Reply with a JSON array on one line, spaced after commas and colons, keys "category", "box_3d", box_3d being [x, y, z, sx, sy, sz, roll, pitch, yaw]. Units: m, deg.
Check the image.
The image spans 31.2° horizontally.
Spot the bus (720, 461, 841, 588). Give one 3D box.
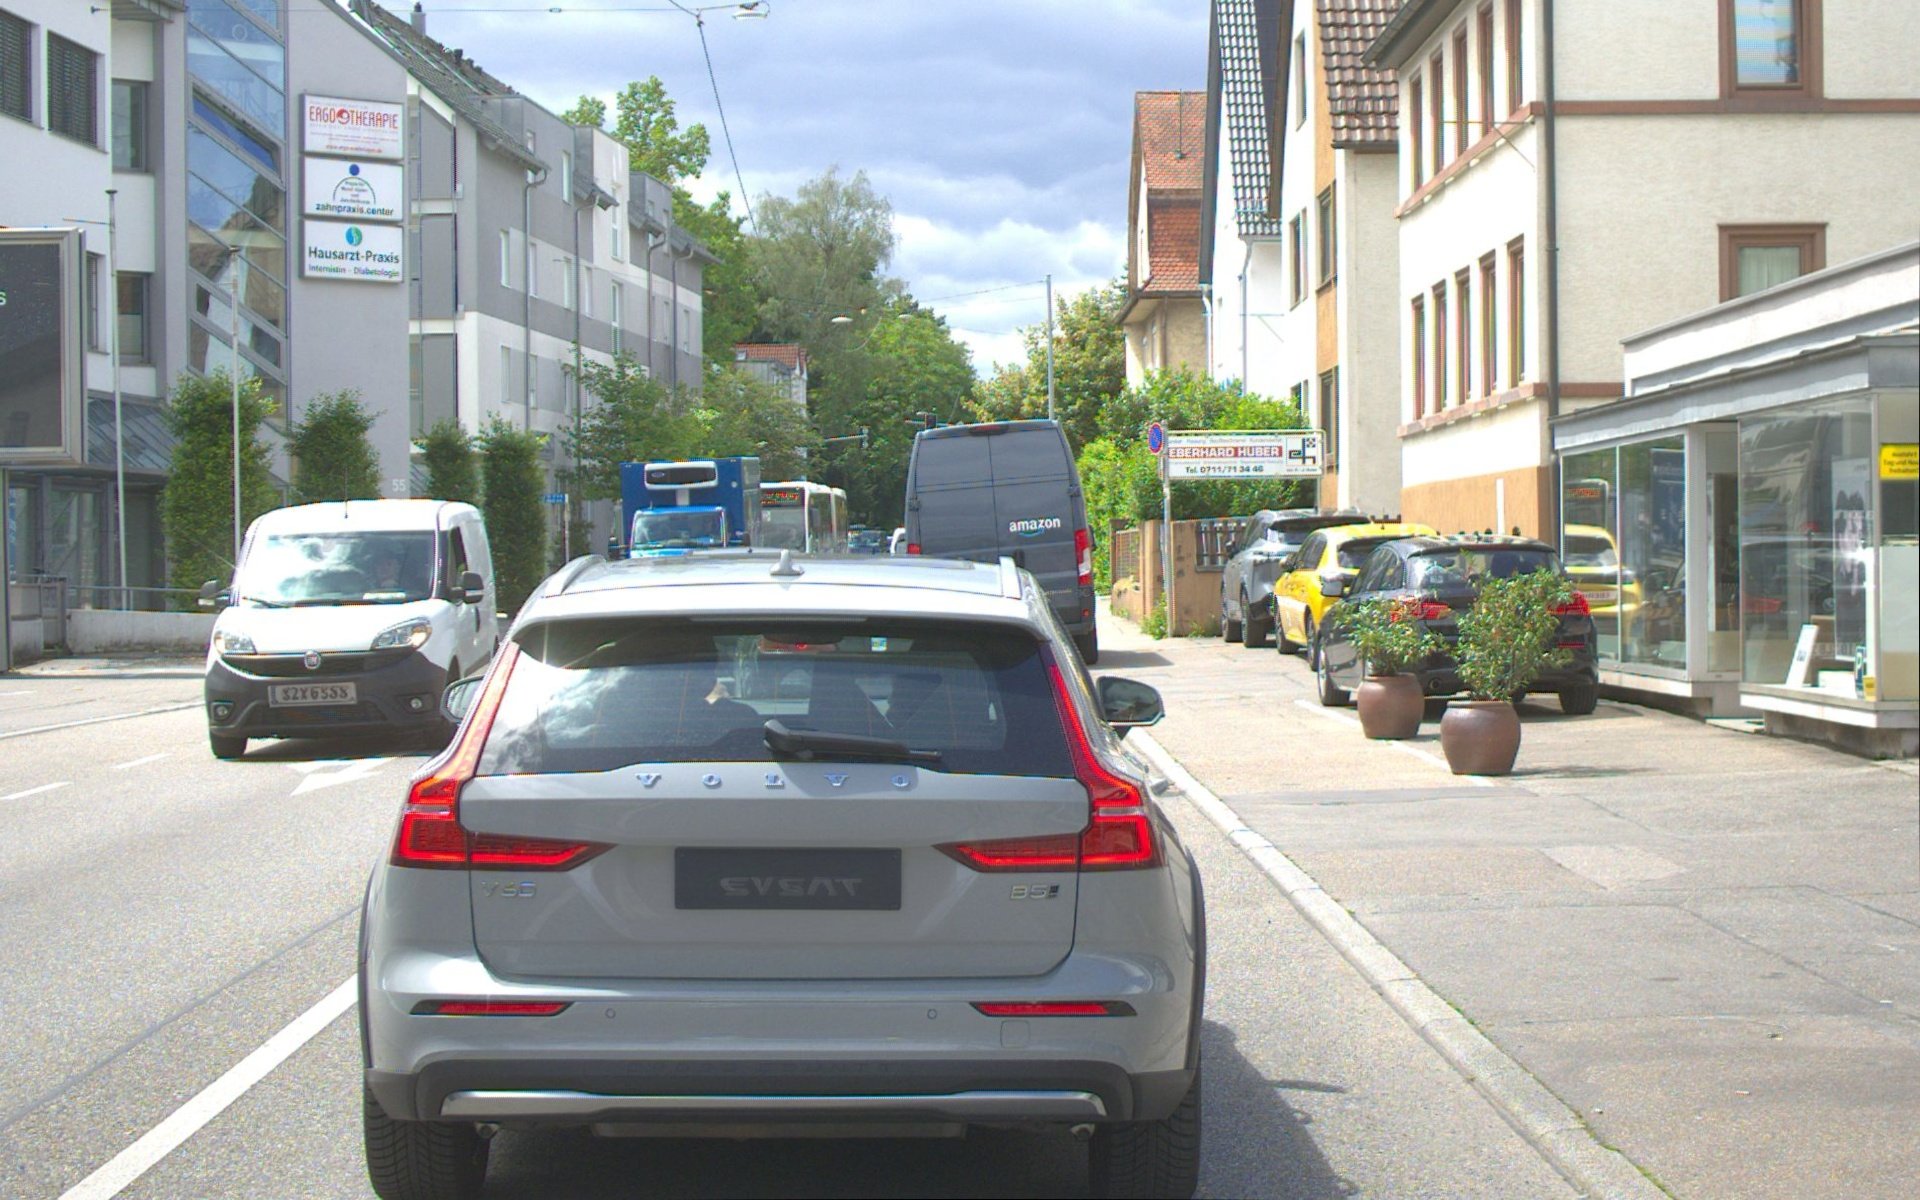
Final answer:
[{"category": "bus", "box_3d": [-4.679, -1.979, 91.362, 2.682, 3.153, 10.185, -1, 1, 0]}]

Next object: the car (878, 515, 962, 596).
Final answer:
[{"category": "car", "box_3d": [-0.997, -1.155, 88.133, 1.993, 2.007, 4.000, 0, 1, 1]}]

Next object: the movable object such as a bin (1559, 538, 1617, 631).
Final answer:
[{"category": "movable object such as a bin", "box_3d": [6.347, -0.157, 34.741, 0.501, 0.922, 0.598, -1, 1, 4]}]

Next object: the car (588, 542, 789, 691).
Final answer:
[{"category": "car", "box_3d": [-2.784, 0.129, 35.961, 1.896, 1.441, 3.969, 0, 1, -2]}]

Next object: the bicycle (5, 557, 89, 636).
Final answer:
[{"category": "bicycle", "box_3d": [-13.220, -0.061, 49.811, 0.630, 1.091, 2.003, -1, 1, 1]}]

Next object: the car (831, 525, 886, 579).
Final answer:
[{"category": "car", "box_3d": [-4.077, -1.942, 139.227, 2.105, 2.114, 4.766, -1, 1, -1]}]

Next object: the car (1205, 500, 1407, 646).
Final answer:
[{"category": "car", "box_3d": [4.114, -0.363, 41.567, 1.860, 1.606, 4.586, -2, 1, -1]}]

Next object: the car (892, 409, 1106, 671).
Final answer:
[{"category": "car", "box_3d": [0.413, -0.696, 39.798, 2.252, 2.786, 5.569, -1, 1, 0]}]

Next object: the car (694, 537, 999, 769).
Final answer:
[{"category": "car", "box_3d": [-0.695, 0.297, 23.684, 1.896, 1.441, 3.968, 0, 1, 1]}]

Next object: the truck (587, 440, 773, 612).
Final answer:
[{"category": "truck", "box_3d": [-5.300, -1.406, 66.480, 2.853, 3.082, 8.089, -1, 1, 0]}]

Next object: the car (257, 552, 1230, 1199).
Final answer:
[{"category": "car", "box_3d": [-0.378, 0.621, 8.687, 1.896, 1.448, 3.968, 0, 1, 1]}]

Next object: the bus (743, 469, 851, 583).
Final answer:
[{"category": "bus", "box_3d": [-4.703, -2.150, 100.479, 2.716, 3.153, 8.069, -1, 1, 0]}]

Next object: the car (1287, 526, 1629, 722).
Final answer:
[{"category": "car", "box_3d": [3.984, 0.136, 28.275, 1.968, 1.442, 4.536, -1, 1, -2]}]

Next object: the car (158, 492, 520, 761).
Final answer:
[{"category": "car", "box_3d": [-4.536, 0.138, 25.756, 1.945, 1.814, 4.279, -1, 1, -1]}]

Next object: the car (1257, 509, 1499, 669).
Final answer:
[{"category": "car", "box_3d": [4.399, -0.164, 36.780, 1.877, 1.442, 4.308, -1, 3, -2]}]
